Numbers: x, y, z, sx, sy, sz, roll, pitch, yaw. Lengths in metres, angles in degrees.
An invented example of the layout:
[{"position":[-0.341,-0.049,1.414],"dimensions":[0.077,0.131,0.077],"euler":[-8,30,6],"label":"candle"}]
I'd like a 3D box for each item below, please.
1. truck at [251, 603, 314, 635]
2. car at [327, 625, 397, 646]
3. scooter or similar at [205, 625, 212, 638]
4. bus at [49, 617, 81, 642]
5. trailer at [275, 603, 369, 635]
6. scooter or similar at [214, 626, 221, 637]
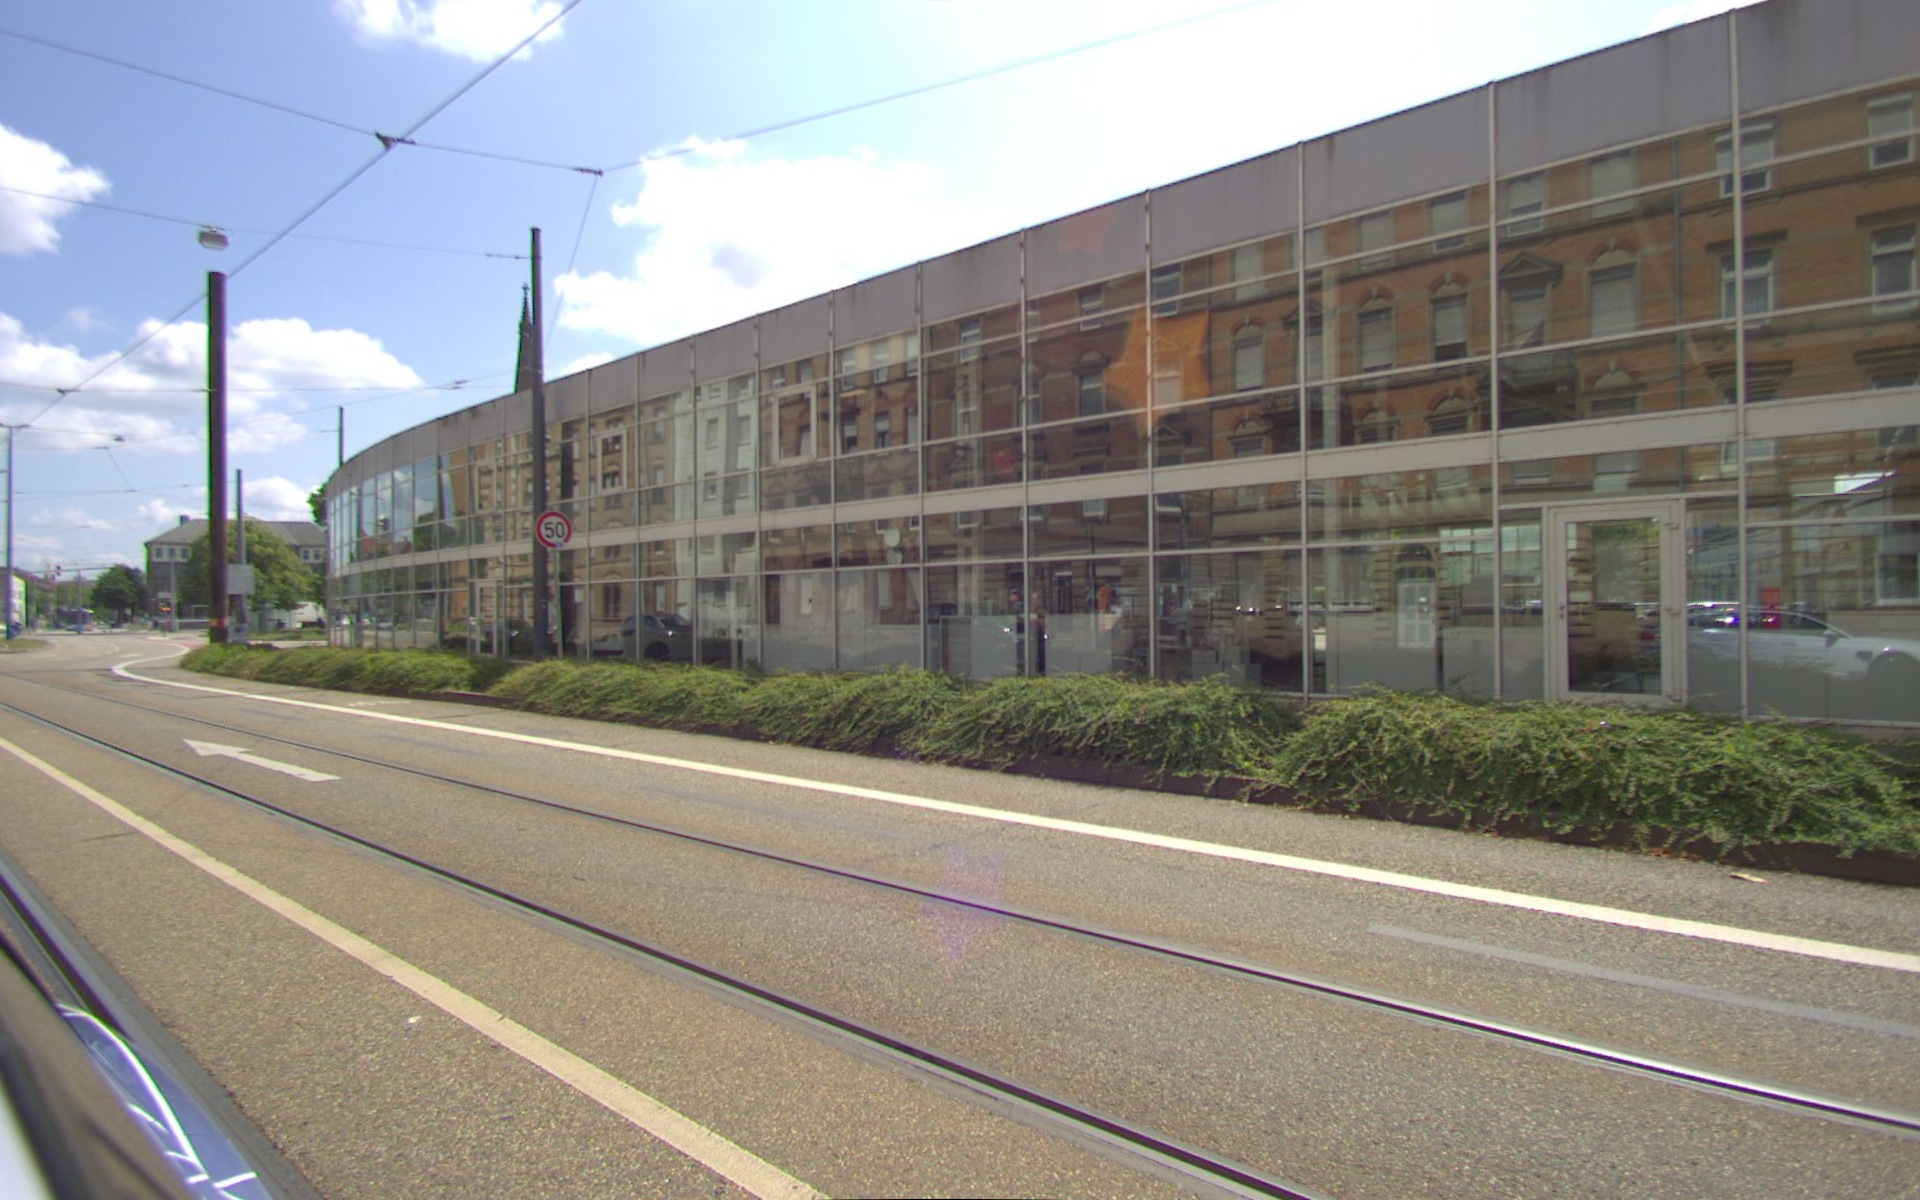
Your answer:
[{"position":[-89.207,2.510,133.398],"dimensions":[2.931,4.150,6.857],"euler":[-1,-1,10],"label":"truck"},{"position":[-43.766,2.573,74.129],"dimensions":[4.124,1.431,1.822],"euler":[0,-1,-43],"label":"car"},{"position":[-73.706,3.102,99.277],"dimensions":[0.549,1.209,0.456],"euler":[-2,-2,40],"label":"scooter or similar"},{"position":[-125.036,4.137,141.498],"dimensions":[2.904,3.474,7.963],"euler":[0,-2,-38],"label":"bus"},{"position":[-88.086,2.615,140.160],"dimensions":[2.916,4.107,13.379],"euler":[-1,-1,9],"label":"trailer"},{"position":[-73.379,3.114,99.997],"dimensions":[0.556,1.133,0.411],"euler":[-2,-2,40],"label":"scooter or similar"}]
